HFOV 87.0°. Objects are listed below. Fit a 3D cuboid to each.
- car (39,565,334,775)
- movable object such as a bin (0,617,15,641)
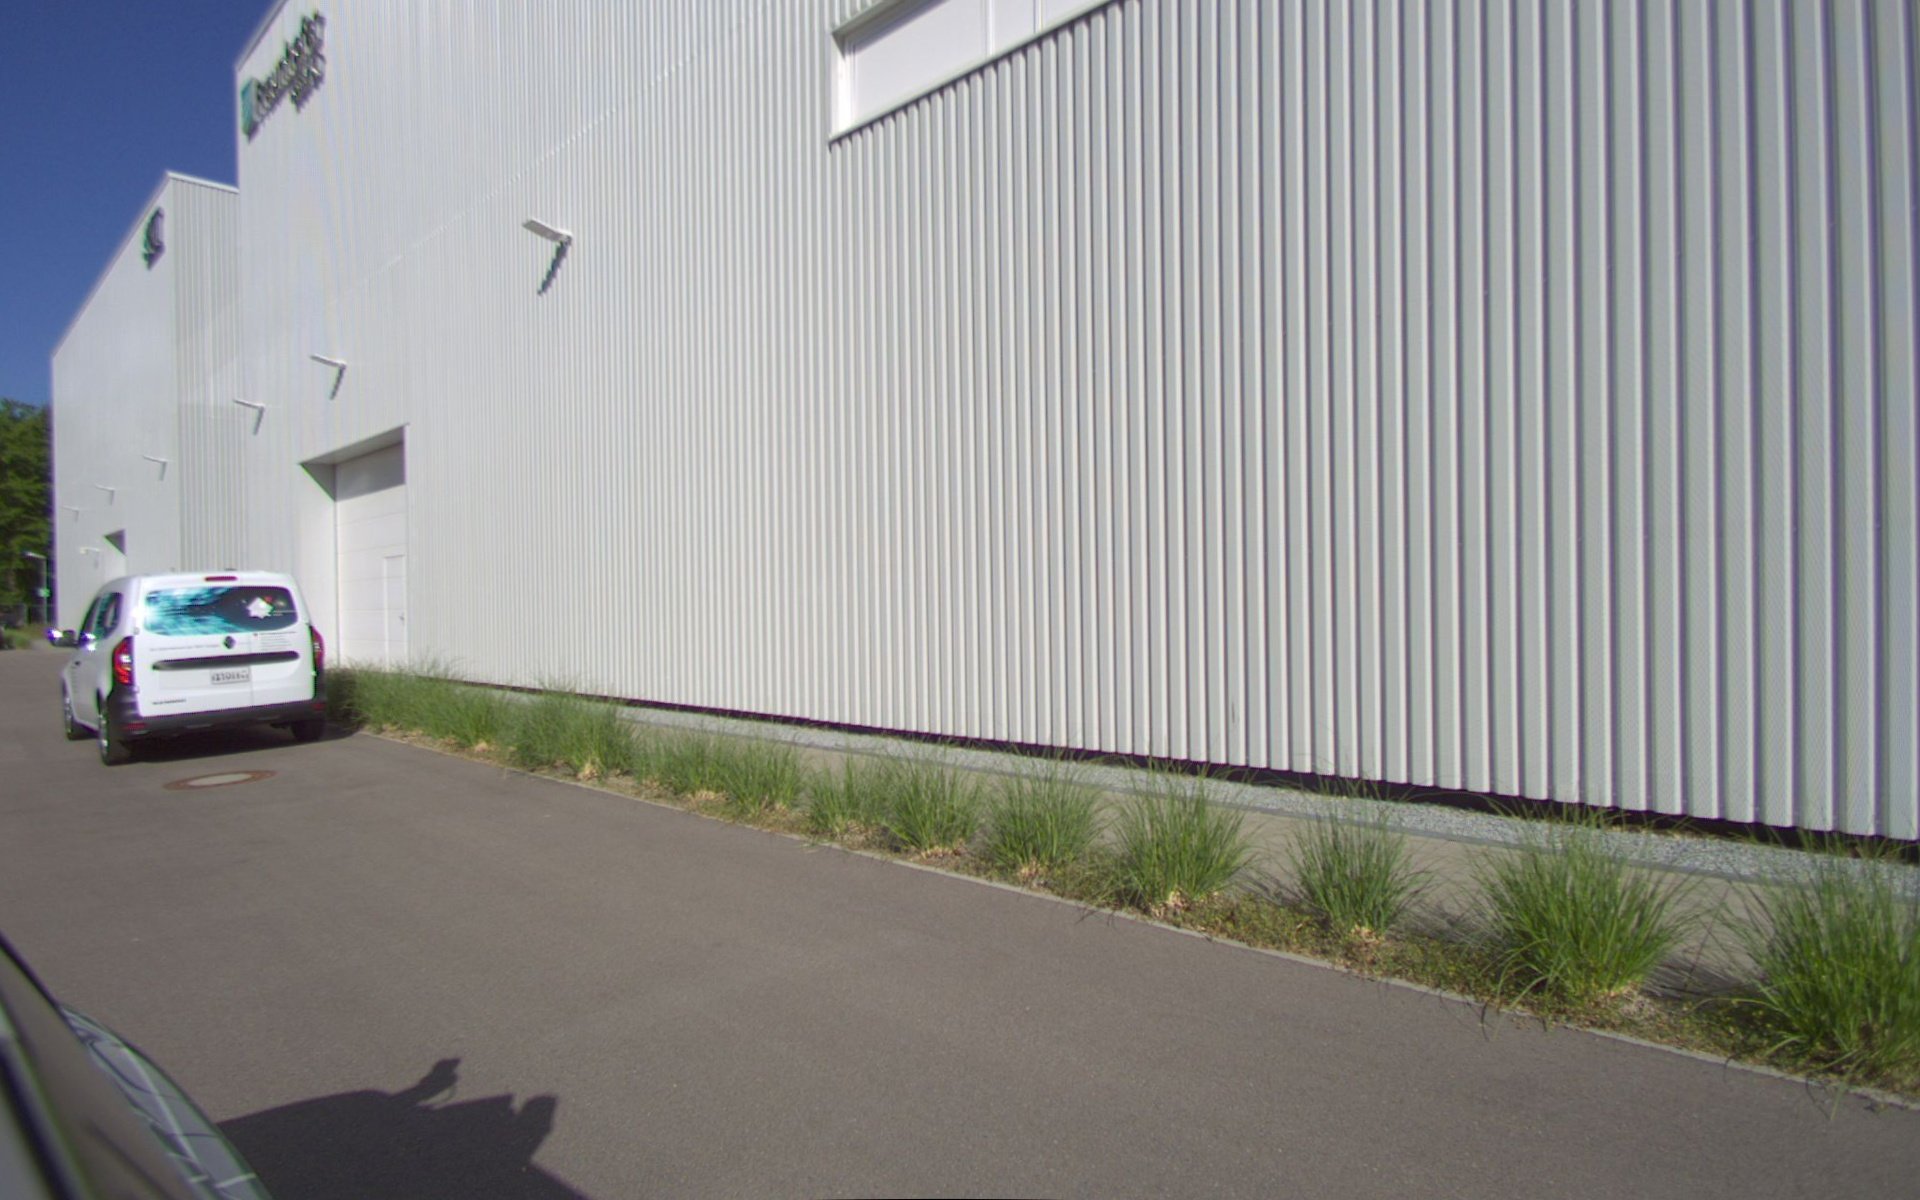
[{"bbox_3d":[-8.579,0.601,11.057,4.601,1.829,1.764,-1,1,43],"label":"car"},{"bbox_3d":[-57.033,1.711,60.175,1.289,1.445,1.125,-2,-2,43],"label":"movable object such as a bin"}]
